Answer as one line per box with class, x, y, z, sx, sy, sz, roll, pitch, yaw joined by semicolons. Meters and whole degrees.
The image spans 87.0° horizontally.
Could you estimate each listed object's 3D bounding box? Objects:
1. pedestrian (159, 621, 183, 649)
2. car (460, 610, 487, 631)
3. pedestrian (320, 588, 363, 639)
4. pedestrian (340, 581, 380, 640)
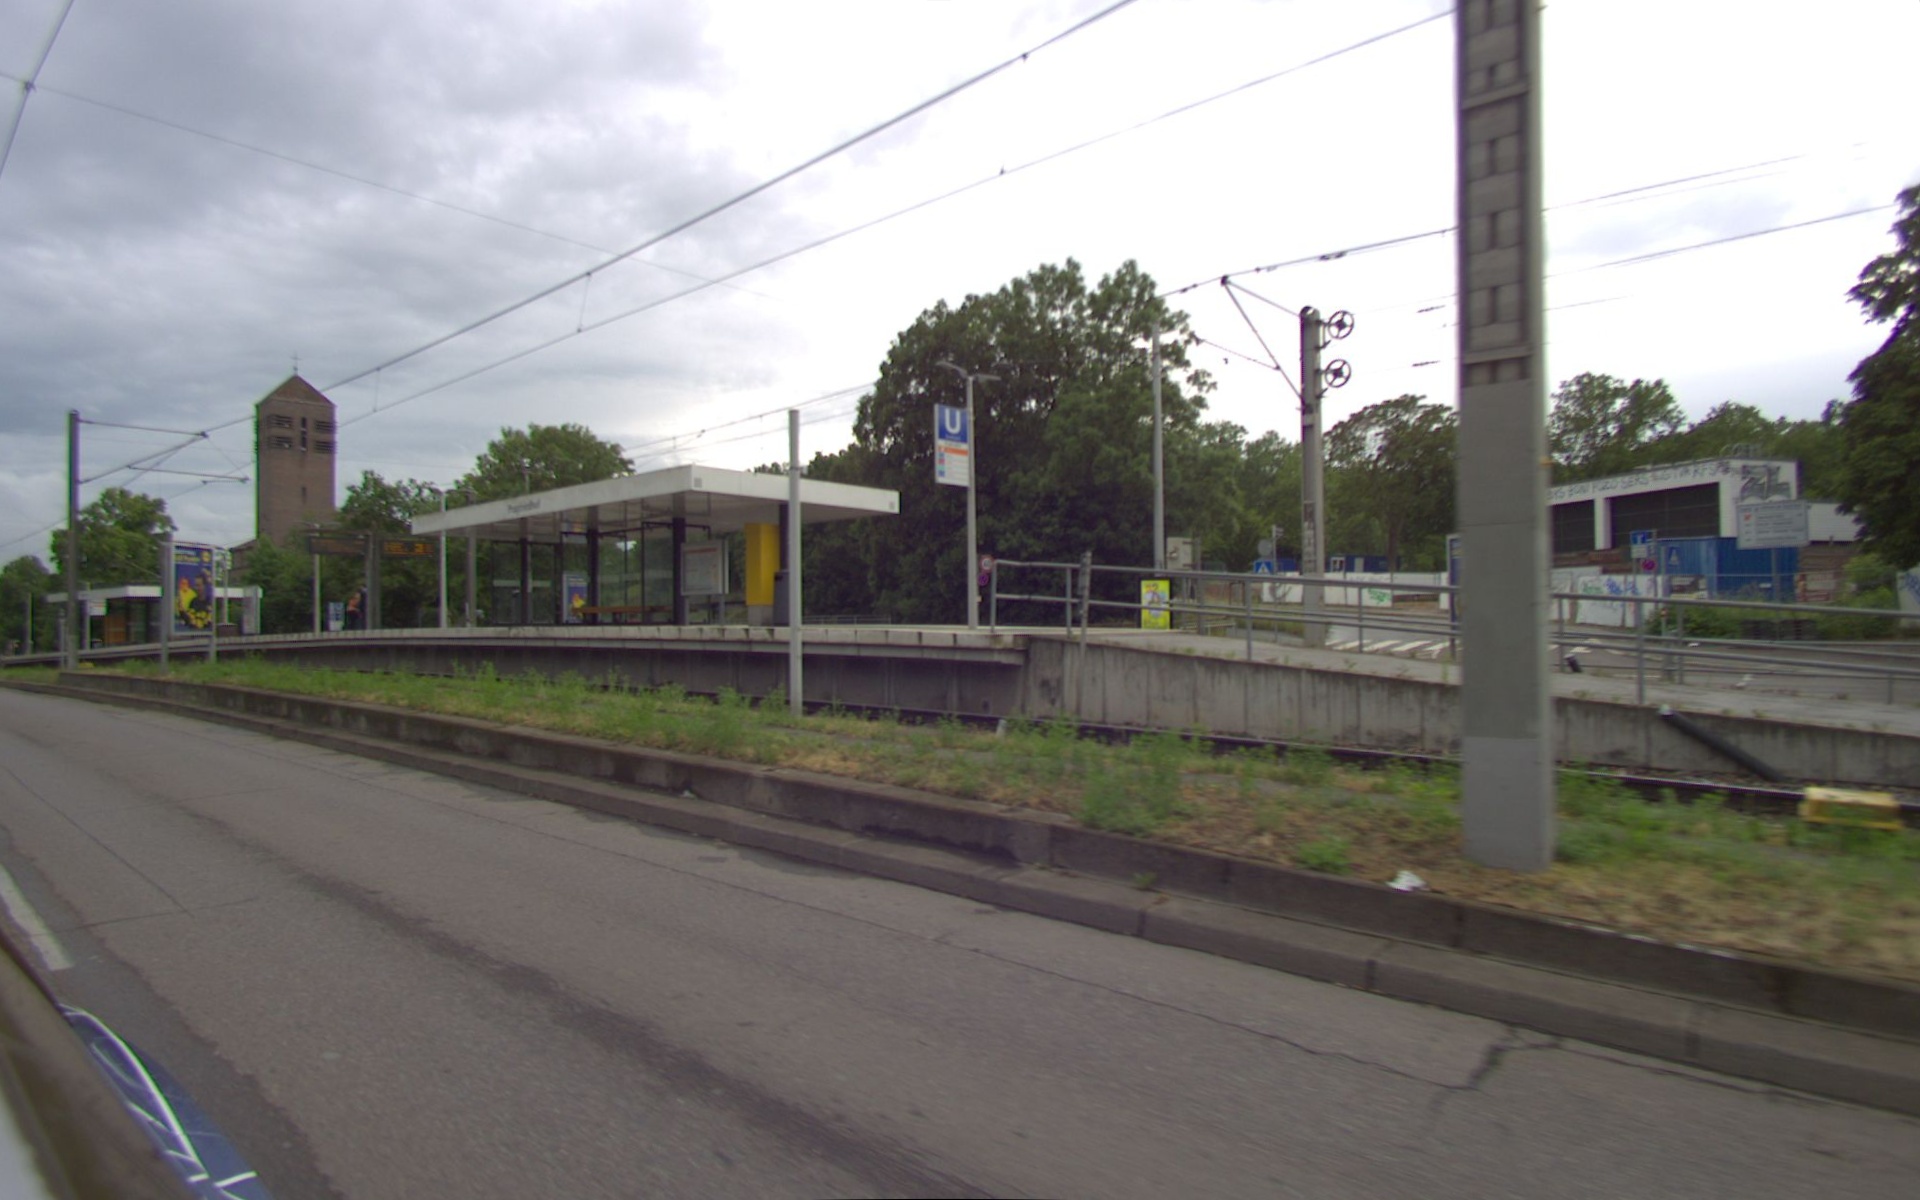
pedestrian;-35.540;1.579;45.587;0.619;1.235;0.703;-4;-2;40
car;-48.758;2.036;101.500;1.966;2.029;4.013;-2;0;-20
pedestrian;-21.229;0.454;34.742;0.911;1.659;0.792;-5;-2;19
pedestrian;-20.383;0.347;34.392;0.835;1.924;0.741;-5;-2;19
